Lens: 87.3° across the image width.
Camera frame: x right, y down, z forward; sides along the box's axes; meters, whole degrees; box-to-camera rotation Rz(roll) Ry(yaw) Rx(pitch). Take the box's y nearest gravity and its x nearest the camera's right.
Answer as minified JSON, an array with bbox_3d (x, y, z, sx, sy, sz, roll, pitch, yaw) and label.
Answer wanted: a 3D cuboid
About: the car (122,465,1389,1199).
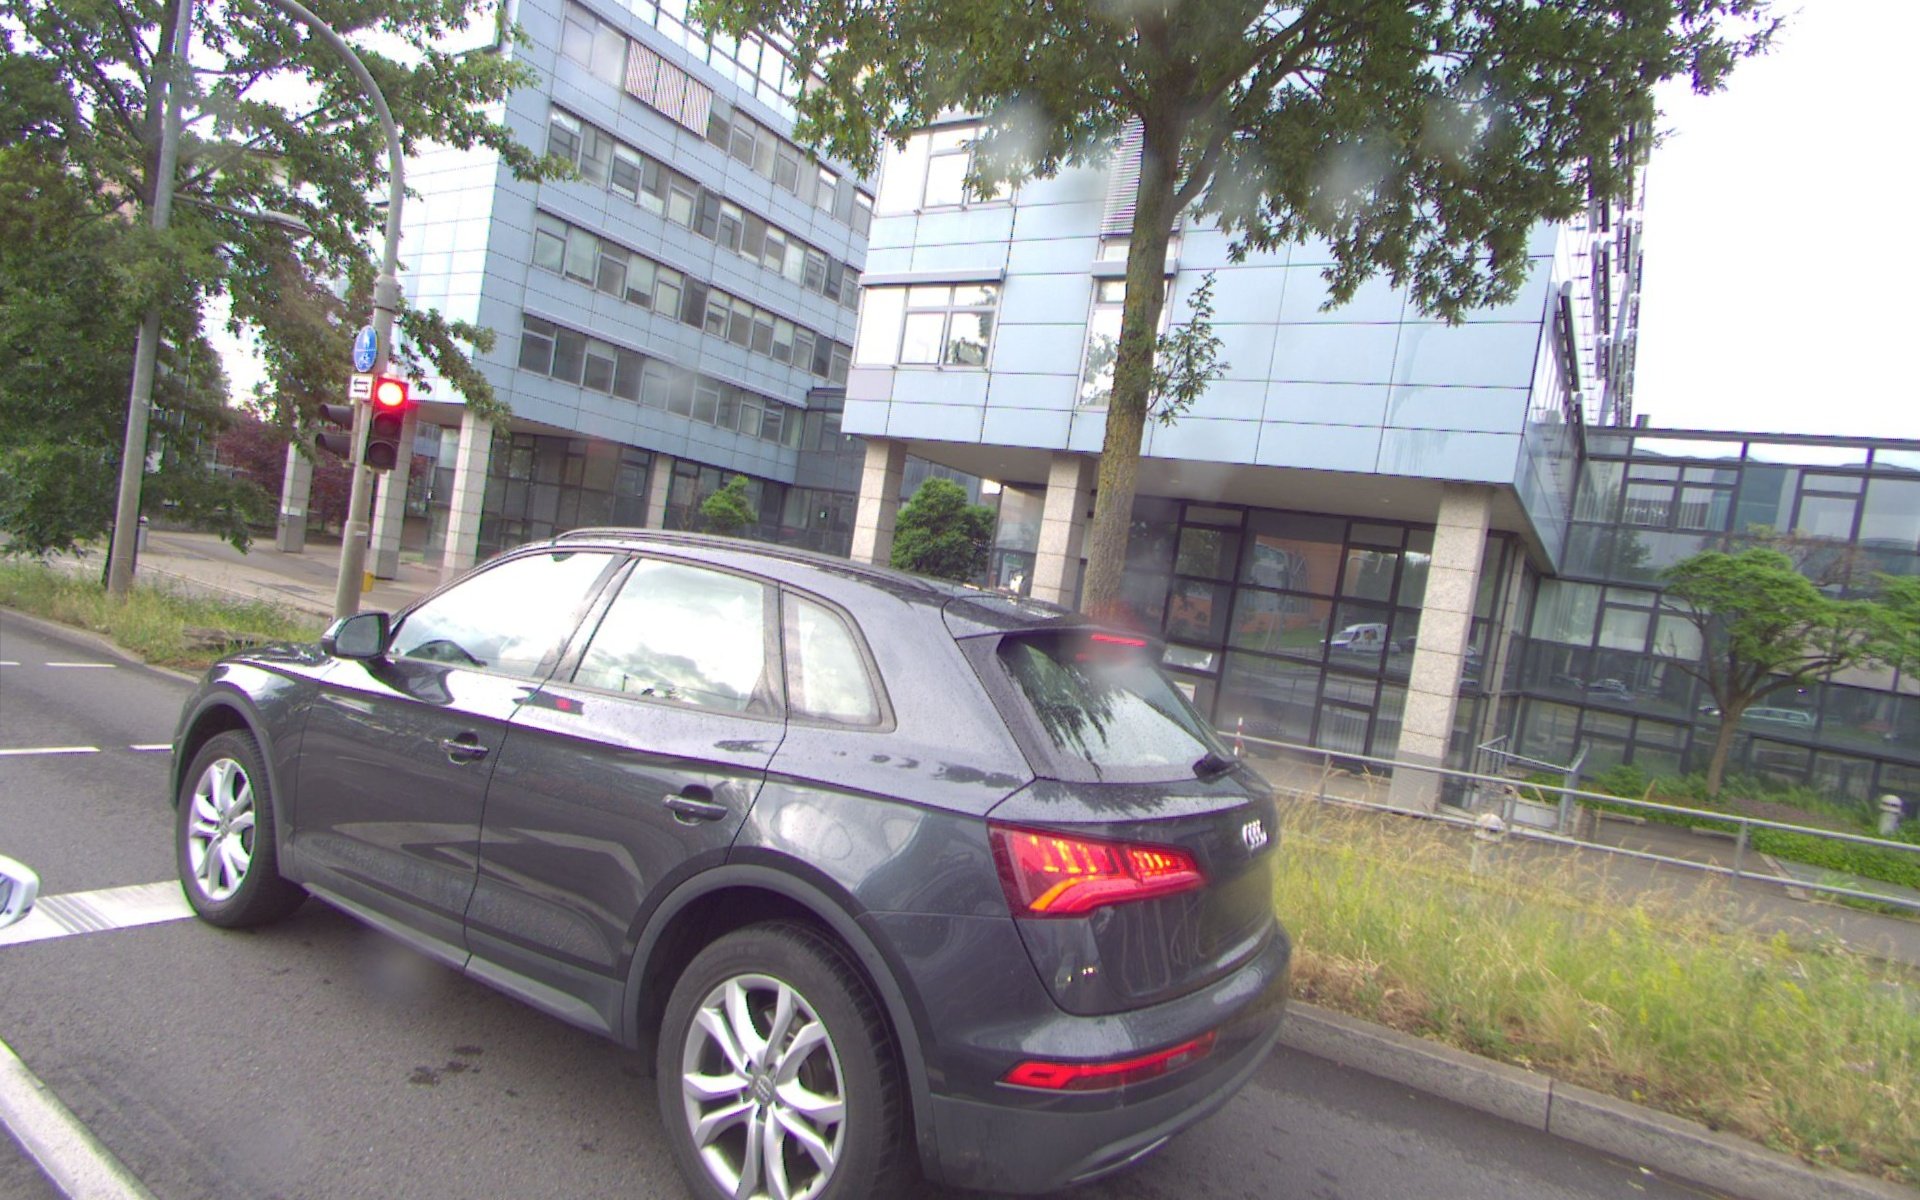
[{"bbox_3d":[-0.993,0.567,3.721,4.396,1.632,1.821,7,-1,32],"label":"car"}]
